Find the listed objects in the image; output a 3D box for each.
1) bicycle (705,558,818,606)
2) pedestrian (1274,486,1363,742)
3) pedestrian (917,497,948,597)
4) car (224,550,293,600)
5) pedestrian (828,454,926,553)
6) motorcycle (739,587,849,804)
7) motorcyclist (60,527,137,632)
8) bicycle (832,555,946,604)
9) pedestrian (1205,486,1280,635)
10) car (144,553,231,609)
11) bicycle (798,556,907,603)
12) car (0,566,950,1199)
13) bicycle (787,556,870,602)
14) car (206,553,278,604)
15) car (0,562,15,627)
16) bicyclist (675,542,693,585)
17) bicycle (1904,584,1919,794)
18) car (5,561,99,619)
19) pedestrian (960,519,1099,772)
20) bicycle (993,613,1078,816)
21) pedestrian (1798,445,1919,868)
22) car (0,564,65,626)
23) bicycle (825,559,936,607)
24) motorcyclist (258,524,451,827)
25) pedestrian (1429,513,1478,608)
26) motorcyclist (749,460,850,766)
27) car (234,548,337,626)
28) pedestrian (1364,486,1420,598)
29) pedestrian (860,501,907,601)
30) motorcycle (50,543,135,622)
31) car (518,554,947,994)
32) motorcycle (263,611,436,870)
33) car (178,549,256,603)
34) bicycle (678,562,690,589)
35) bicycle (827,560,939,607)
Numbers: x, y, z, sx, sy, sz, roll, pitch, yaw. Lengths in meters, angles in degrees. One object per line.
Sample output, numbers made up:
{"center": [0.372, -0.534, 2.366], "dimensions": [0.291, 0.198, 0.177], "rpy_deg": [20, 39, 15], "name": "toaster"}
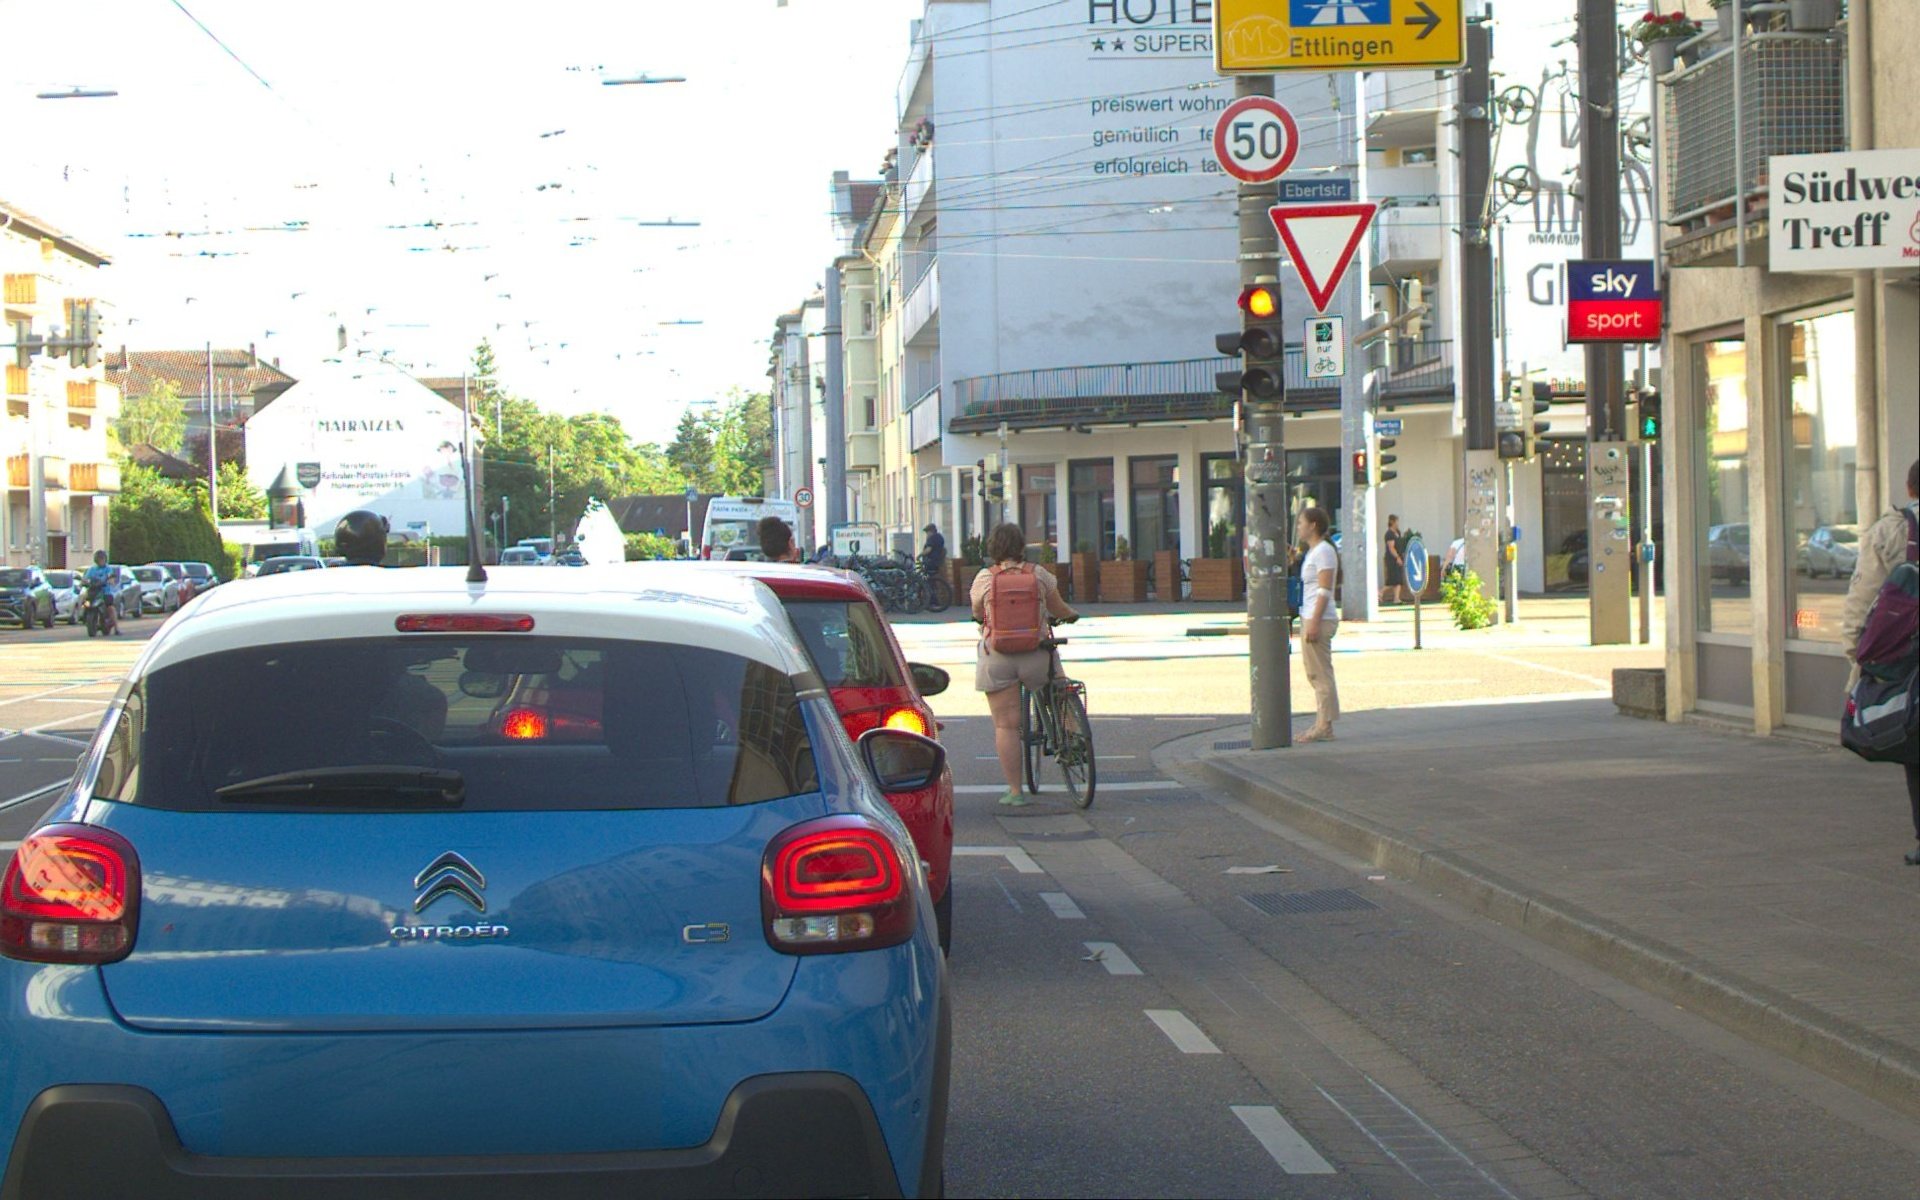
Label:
{"center": [-3.823, -0.348, 66.303], "dimensions": [2.132, 0.898, 0.367], "rpy_deg": [1, 0, -9], "name": "bicycle"}
{"center": [2.525, 0.097, 24.235], "dimensions": [0.517, 1.777, 0.595], "rpy_deg": [1, 0, -2], "name": "pedestrian"}
{"center": [-0.562, -1.081, 70.225], "dimensions": [0.577, 2.007, 0.626], "rpy_deg": [1, 0, -3], "name": "pedestrian"}
{"center": [-24.725, -0.890, 121.292], "dimensions": [1.846, 1.681, 3.875], "rpy_deg": [1, 1, -4], "name": "car"}
{"center": [-1.749, -2.032, 73.527], "dimensions": [1.993, 2.007, 4.000], "rpy_deg": [1, 1, -1], "name": "pedestrian"}
{"center": [-0.920, 0.504, 19.433], "dimensions": [0.526, 1.136, 2.290], "rpy_deg": [1, 1, -1], "name": "motorcycle"}
{"center": [-16.810, -0.411, 67.107], "dimensions": [1.185, 2.007, 1.276], "rpy_deg": [-1, 1, -3], "name": "motorcyclist"}
{"center": [-1.361, -0.396, 65.927], "dimensions": [2.132, 0.898, 0.367], "rpy_deg": [1, 0, -9], "name": "bicycle"}
{"center": [3.851, -0.544, 46.947], "dimensions": [0.926, 2.007, 0.759], "rpy_deg": [1, 0, -1], "name": "pedestrian"}
{"center": [-23.788, -0.602, 105.960], "dimensions": [1.983, 1.681, 4.001], "rpy_deg": [1, 1, -3], "name": "car"}
{"center": [-2.136, -0.406, 68.350], "dimensions": [2.132, 0.898, 0.367], "rpy_deg": [1, 0, -9], "name": "bicycle"}
{"center": [-0.873, 0.660, 7.172], "dimensions": [1.654, 1.439, 3.523], "rpy_deg": [1, 1, -1], "name": "car"}
{"center": [-2.646, -0.434, 69.247], "dimensions": [1.785, 0.898, 0.366], "rpy_deg": [1, 1, 34], "name": "bicycle"}
{"center": [-24.354, -0.752, 116.775], "dimensions": [1.833, 1.681, 4.001], "rpy_deg": [1, 1, -4], "name": "car"}
{"center": [-23.226, -0.134, 79.323], "dimensions": [1.787, 1.506, 4.150], "rpy_deg": [1, 1, -2], "name": "car"}
{"center": [-9.454, -1.254, 117.722], "dimensions": [0.561, 1.472, 0.748], "rpy_deg": [1, 0, -3], "name": "bicyclist"}
{"center": [4.851, 0.433, 15.763], "dimensions": [0.542, 0.995, 1.706], "rpy_deg": [1, 1, -1], "name": "bicycle"}
{"center": [-24.300, -0.277, 92.122], "dimensions": [1.732, 1.493, 4.001], "rpy_deg": [1, 1, -5], "name": "car"}
{"center": [0.404, 0.259, 20.259], "dimensions": [0.777, 1.455, 0.682], "rpy_deg": [1, 0, -1], "name": "pedestrian"}
{"center": [0.439, 0.654, 20.500], "dimensions": [0.427, 1.119, 1.998], "rpy_deg": [1, 1, -1], "name": "bicycle"}
{"center": [3.763, 0.214, 13.312], "dimensions": [0.825, 1.587, 0.751], "rpy_deg": [1, 0, -1], "name": "pedestrian"}
{"center": [-23.720, -0.148, 86.088], "dimensions": [1.785, 1.493, 4.001], "rpy_deg": [1, 1, -4], "name": "car"}
{"center": [-1.567, -0.336, 67.392], "dimensions": [2.132, 0.898, 0.367], "rpy_deg": [1, 0, -9], "name": "bicycle"}
{"center": [-3.060, 0.372, 17.423], "dimensions": [0.860, 1.500, 0.598], "rpy_deg": [1, 0, -1], "name": "motorcyclist"}
{"center": [8.355, -0.665, 58.193], "dimensions": [0.736, 1.595, 0.748], "rpy_deg": [1, 0, 13], "name": "pedestrian"}
{"center": [-0.913, 0.069, 19.616], "dimensions": [0.526, 1.710, 0.717], "rpy_deg": [1, 0, -1], "name": "motorcyclist"}
{"center": [-14.964, -0.305, 76.405], "dimensions": [1.774, 1.660, 3.857], "rpy_deg": [1, 1, -4], "name": "car"}
{"center": [7.868, -1.055, 62.601], "dimensions": [0.758, 2.007, 0.710], "rpy_deg": [1, 0, 31], "name": "pedestrian"}
{"center": [-1.539, -0.989, 69.180], "dimensions": [0.630, 2.007, 0.724], "rpy_deg": [1, 0, -36], "name": "pedestrian"}
{"center": [-16.843, -0.353, 66.844], "dimensions": [0.923, 1.481, 3.726], "rpy_deg": [1, 1, -3], "name": "motorcycle"}
{"center": [-0.787, 0.577, 13.121], "dimensions": [1.424, 1.462, 2.924], "rpy_deg": [-1, 0, -1], "name": "car"}
{"center": [-3.095, 0.682, 17.564], "dimensions": [0.537, 1.215, 1.981], "rpy_deg": [1, 1, -1], "name": "motorcycle"}
{"center": [-24.014, -0.779, 111.233], "dimensions": [1.882, 1.681, 4.001], "rpy_deg": [1, 1, -4], "name": "car"}
{"center": [-9.466, -0.844, 117.915], "dimensions": [0.349, 0.900, 1.859], "rpy_deg": [1, 1, -2], "name": "bicycle"}
{"center": [-1.504, -0.323, 66.982], "dimensions": [2.132, 0.898, 0.367], "rpy_deg": [1, 0, -9], "name": "bicycle"}
